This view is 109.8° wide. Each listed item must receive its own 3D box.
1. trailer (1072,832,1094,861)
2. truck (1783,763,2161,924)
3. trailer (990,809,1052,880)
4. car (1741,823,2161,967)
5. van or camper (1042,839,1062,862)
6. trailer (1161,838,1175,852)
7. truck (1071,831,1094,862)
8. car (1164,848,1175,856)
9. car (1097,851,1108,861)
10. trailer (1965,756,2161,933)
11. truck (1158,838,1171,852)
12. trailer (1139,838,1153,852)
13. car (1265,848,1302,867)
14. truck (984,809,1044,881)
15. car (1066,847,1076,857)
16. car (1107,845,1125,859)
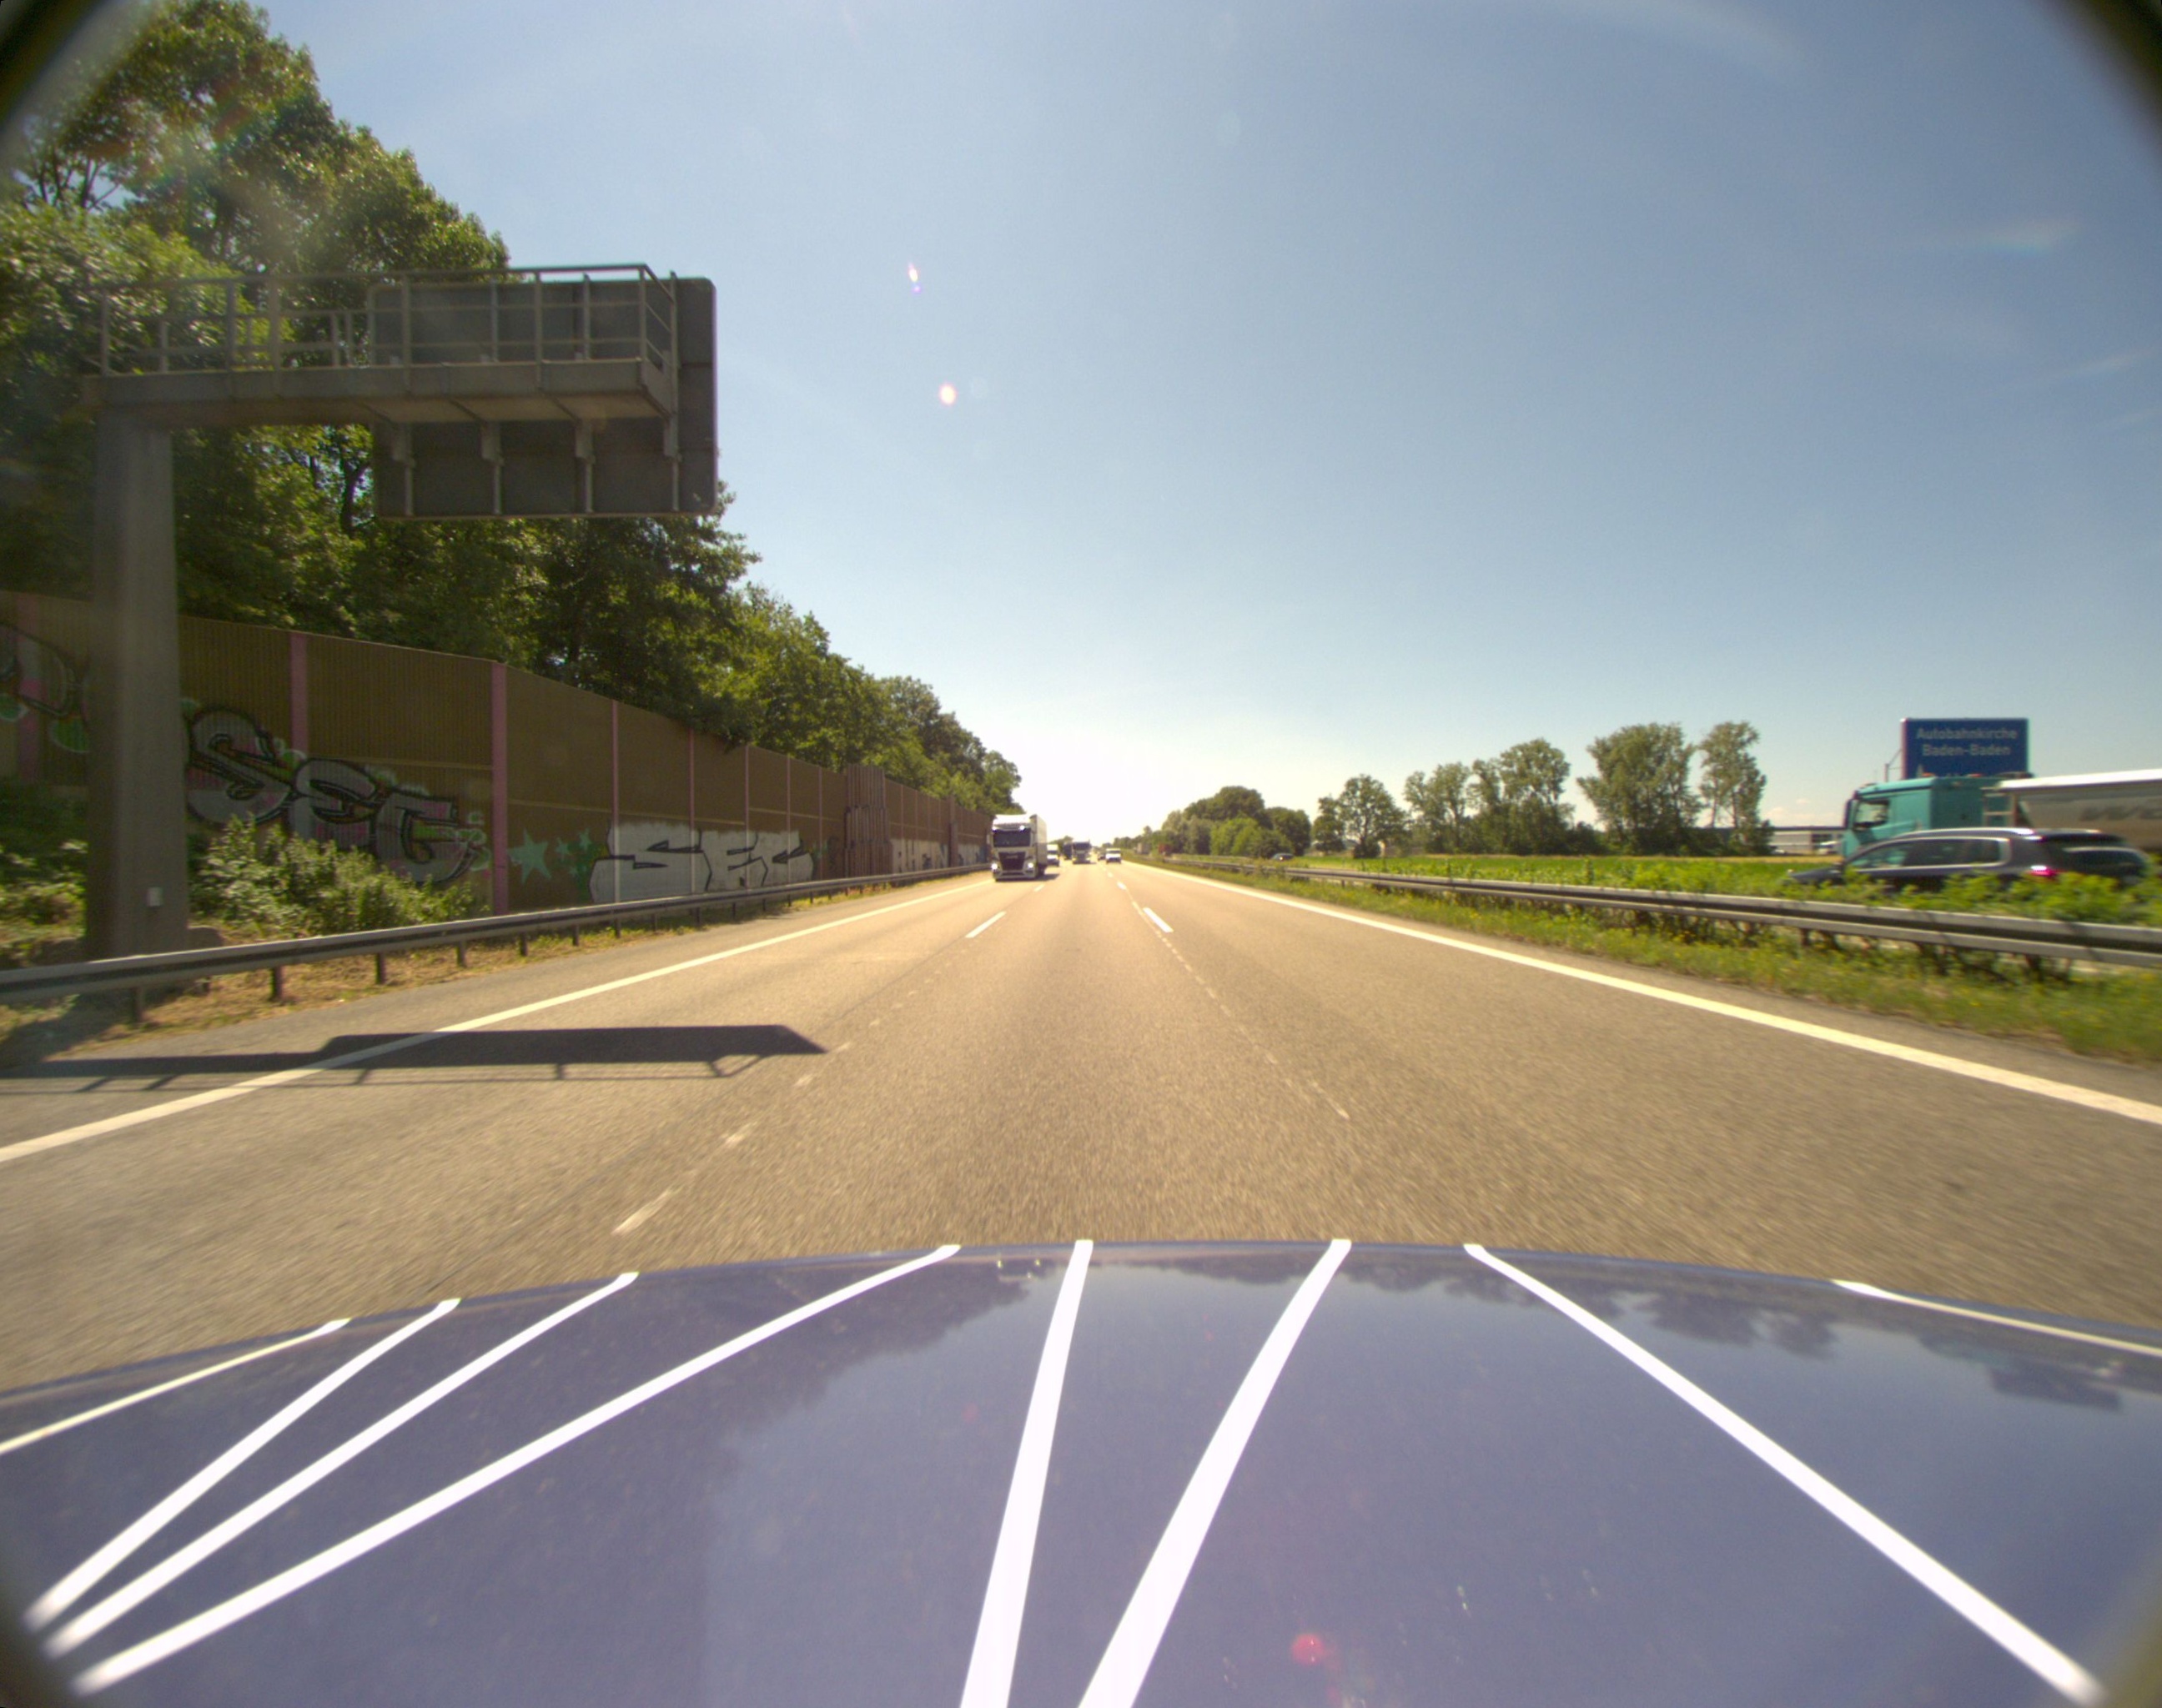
[{"bbox_3d":[0.309,-1.136,111.070,2.927,4.018,7.316,-2,1,0],"label":"trailer"},{"bbox_3d":[20.977,-0.246,18.341,2.704,3.232,5.837,-1,1,1],"label":"truck"},{"bbox_3d":[-3.956,-0.671,53.451,3.001,4.264,13.416,-2,1,1],"label":"trailer"},{"bbox_3d":[12.984,0.475,11.528,1.874,1.732,4.721,0,0,1],"label":"car"},{"bbox_3d":[-3.420,-0.432,90.821,2.027,2.622,6.486,-2,1,0],"label":"van or camper"},{"bbox_3d":[23.984,-2.506,210.004,2.665,3.897,8.660,2,1,1],"label":"trailer"},{"bbox_3d":[0.265,-1.072,106.556,2.896,4.007,6.869,-2,1,1],"label":"truck"},{"bbox_3d":[19.544,-0.521,168.362,1.998,1.670,5.552,0,0,1],"label":"car"},{"bbox_3d":[3.801,0.351,132.803,1.796,1.696,4.000,0,0,1],"label":"car"},{"bbox_3d":[20.929,-0.168,12.228,2.682,3.219,9.257,-1,1,1],"label":"trailer"},{"bbox_3d":[24.037,-2.594,219.736,2.655,3.862,10.826,2,1,1],"label":"truck"},{"bbox_3d":[20.181,-2.762,236.789,3.203,4.397,13.324,0,1,1],"label":"trailer"},{"bbox_3d":[18.300,0.268,68.901,1.998,1.630,5.663,0,0,1],"label":"car"},{"bbox_3d":[-3.999,-0.564,46.456,3.010,4.101,5.252,-2,1,0],"label":"truck"},{"bbox_3d":[-2.089,-0.401,163.702,1.998,2.002,4.867,0,0,1],"label":"car"},{"bbox_3d":[4.560,-0.268,100.667,2.147,1.810,5.267,-2,1,1],"label":"car"}]
